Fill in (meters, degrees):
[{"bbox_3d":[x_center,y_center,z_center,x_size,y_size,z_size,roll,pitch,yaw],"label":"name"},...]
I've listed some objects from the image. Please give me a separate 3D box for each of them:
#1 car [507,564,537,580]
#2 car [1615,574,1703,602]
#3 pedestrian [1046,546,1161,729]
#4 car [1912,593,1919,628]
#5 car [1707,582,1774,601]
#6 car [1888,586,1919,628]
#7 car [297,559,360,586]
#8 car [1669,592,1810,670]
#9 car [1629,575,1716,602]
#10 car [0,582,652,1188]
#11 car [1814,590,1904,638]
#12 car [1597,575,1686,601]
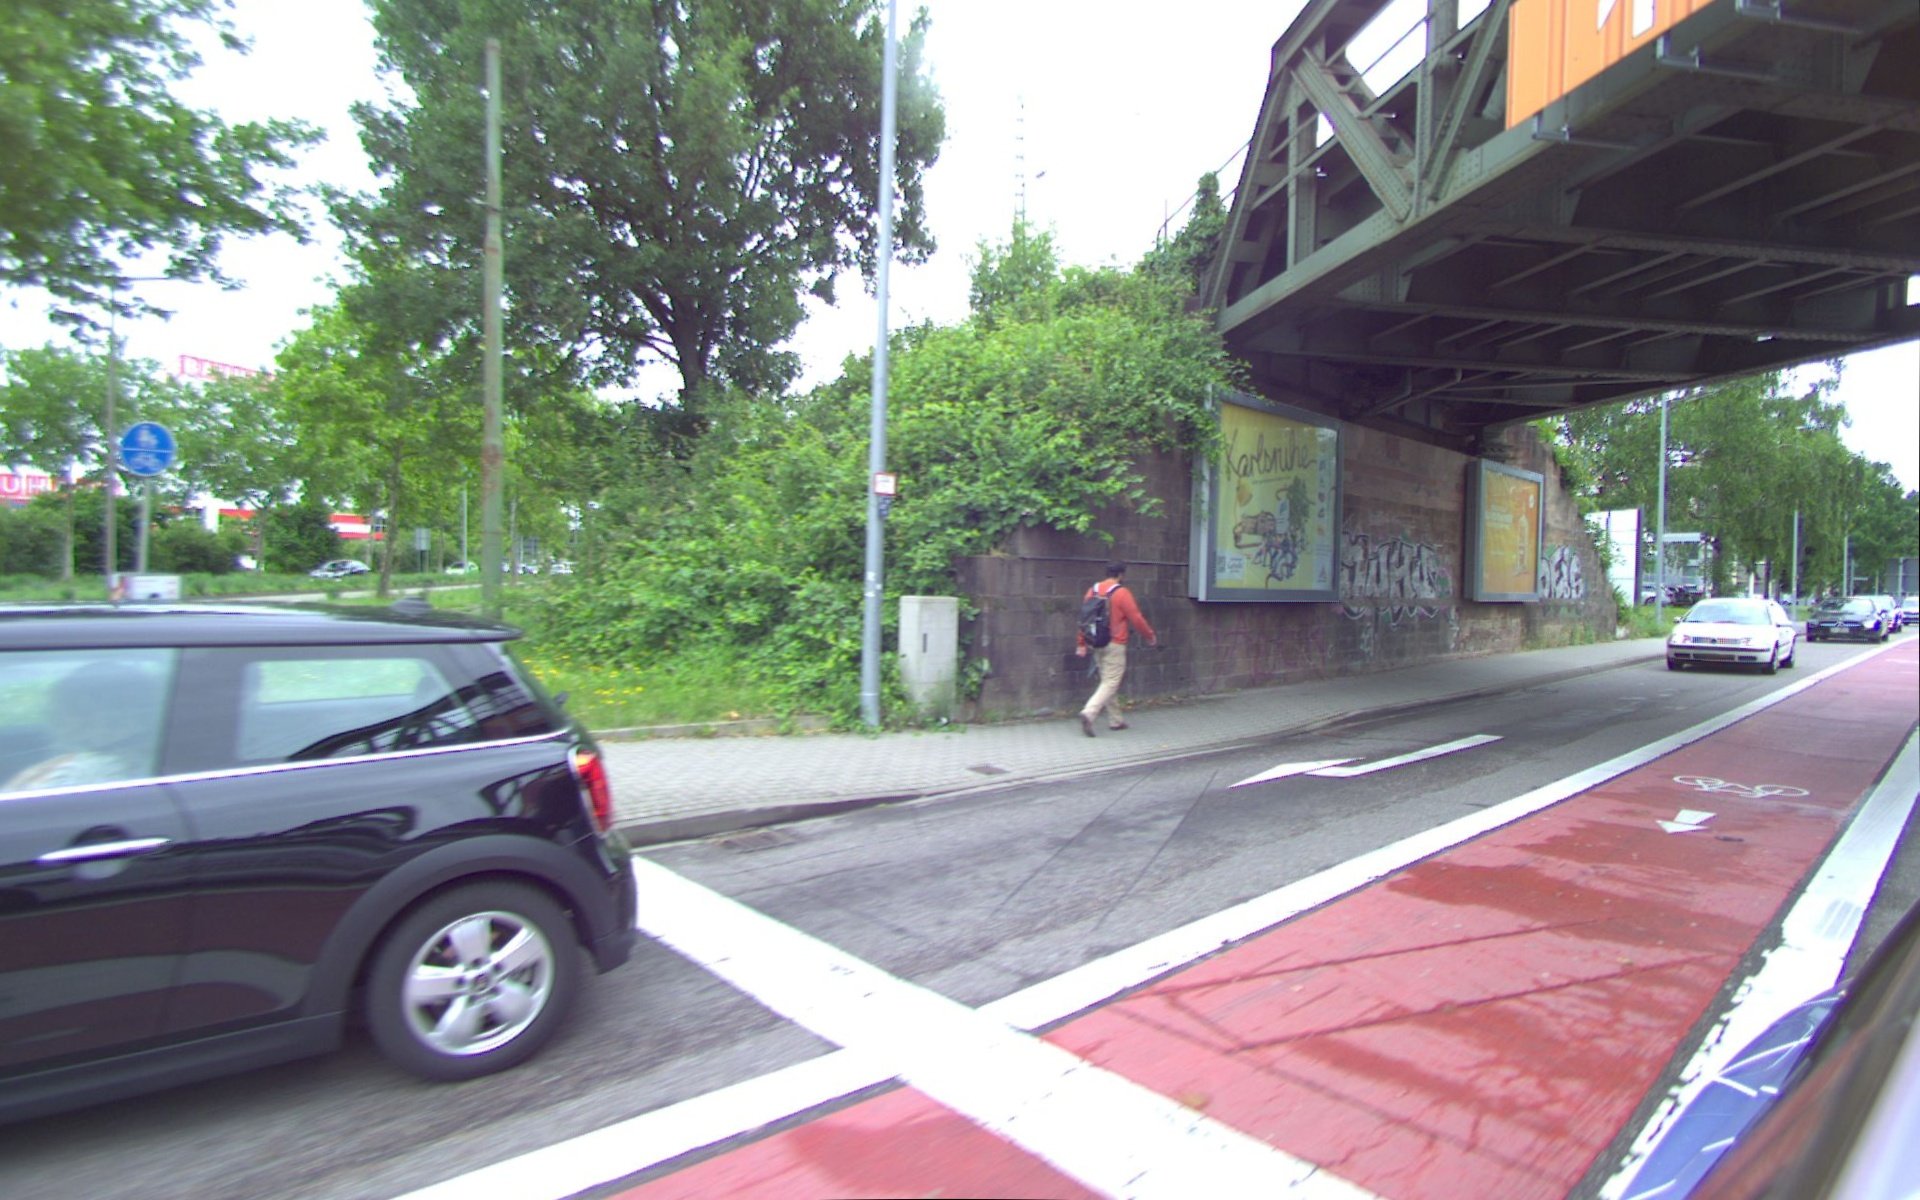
[{"bbox_3d":[-44.774,-2.817,103.469,1.749,1.552,4.005,-1,1,-7],"label":"car"},{"bbox_3d":[44.121,-0.720,63.955,1.937,1.621,4.298,0,-1,-45],"label":"car"},{"bbox_3d":[1.471,0.352,10.408,0.872,1.781,0.775,2,1,45],"label":"pedestrian"},{"bbox_3d":[53.672,0.582,55.559,1.990,1.872,4.040,2,2,43],"label":"car"},{"bbox_3d":[64.947,-0.680,84.279,1.710,1.450,4.191,0,-1,-43],"label":"car"},{"bbox_3d":[39.531,0.286,41.635,1.781,1.667,3.941,2,2,41],"label":"car"},{"bbox_3d":[-36.987,-1.618,59.389,1.661,1.500,4.073,1,2,-9],"label":"car"},{"bbox_3d":[15.908,0.562,20.580,3.875,1.442,1.723,0,0,-44],"label":"car"},{"bbox_3d":[46.166,-0.719,65.633,1.935,1.621,4.302,0,-1,-42],"label":"car"},{"bbox_3d":[-3.003,0.676,2.957,3.701,1.449,1.685,0,0,-35],"label":"car"},{"bbox_3d":[28.655,0.408,32.218,3.933,1.442,1.834,0,0,-44],"label":"car"},{"bbox_3d":[41.210,-0.717,61.234,4.294,1.508,1.714,1,0,42],"label":"car"}]
